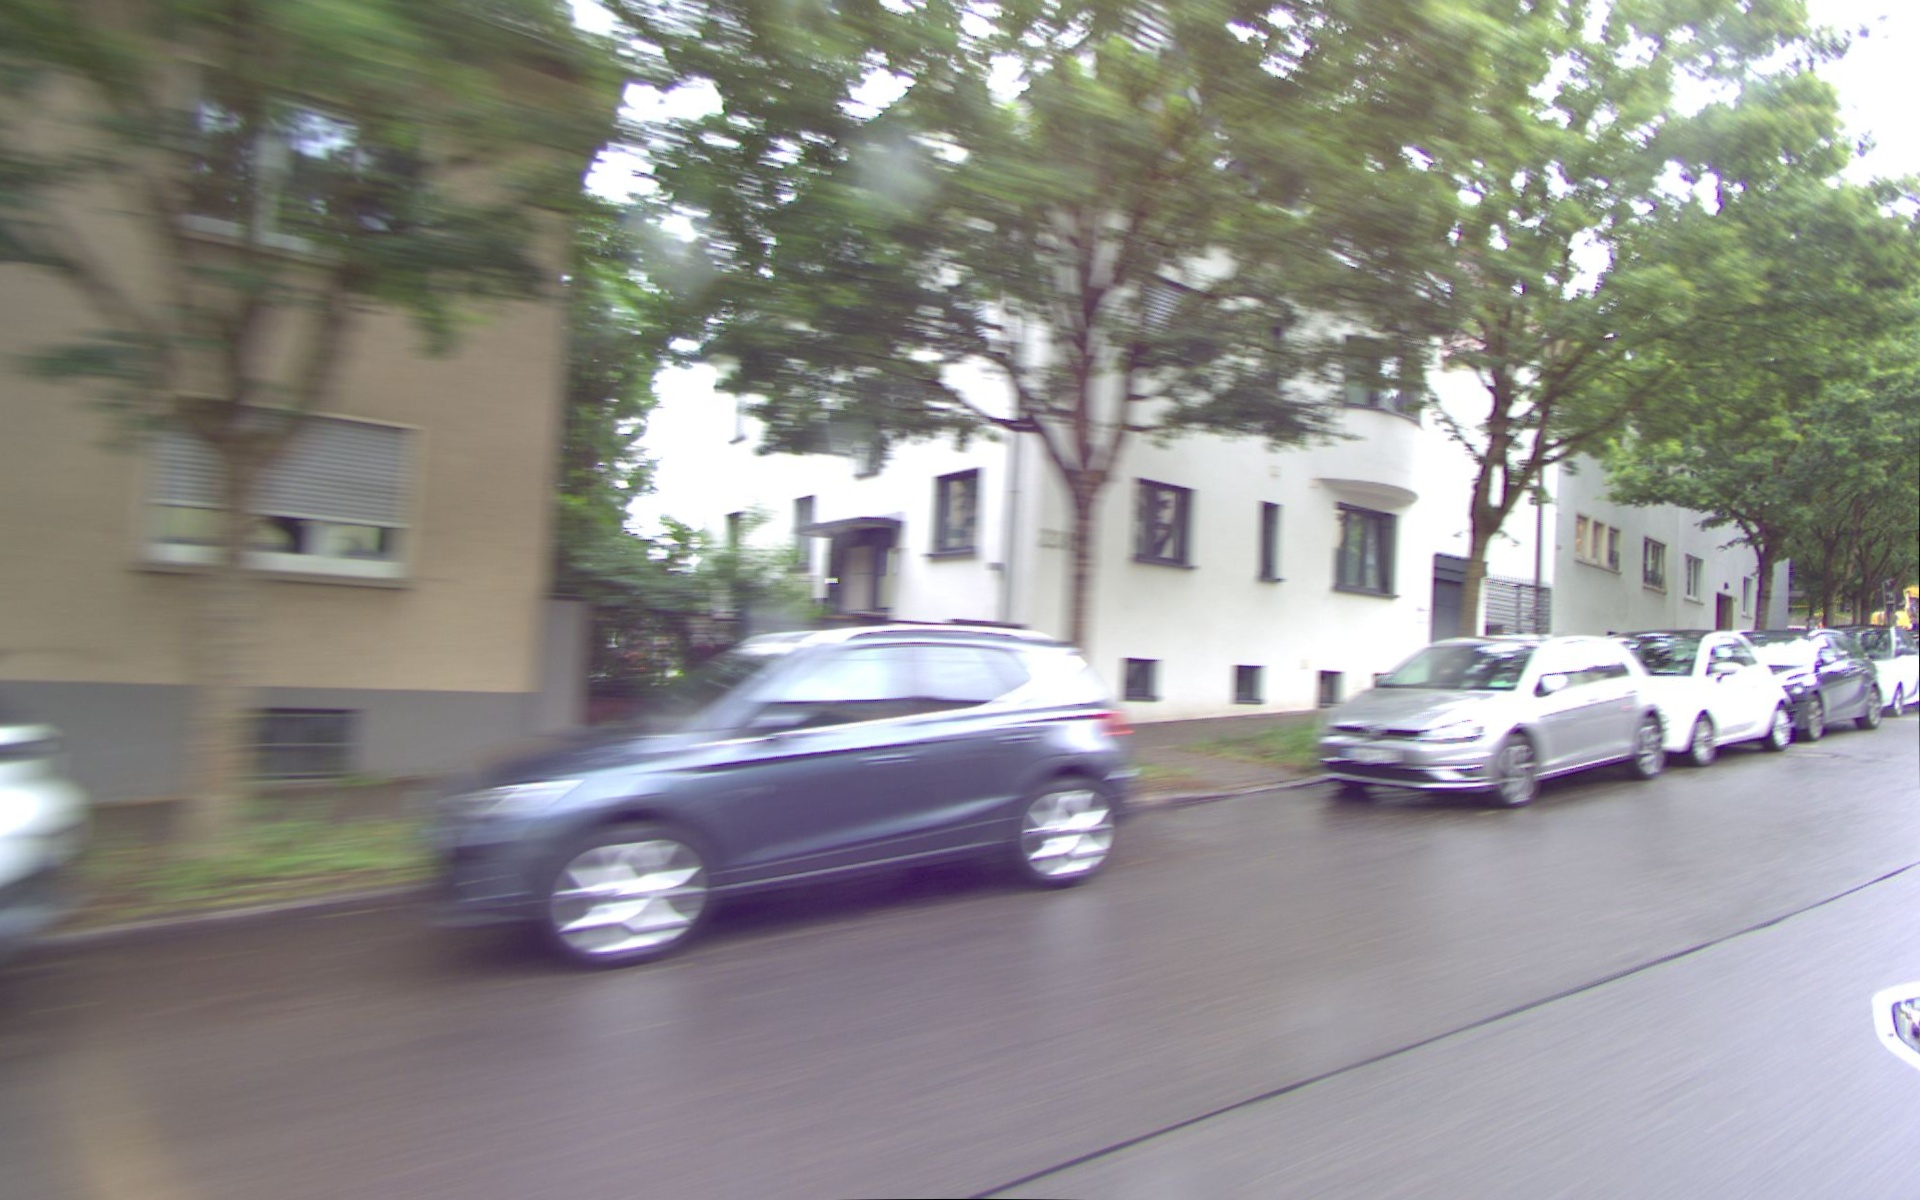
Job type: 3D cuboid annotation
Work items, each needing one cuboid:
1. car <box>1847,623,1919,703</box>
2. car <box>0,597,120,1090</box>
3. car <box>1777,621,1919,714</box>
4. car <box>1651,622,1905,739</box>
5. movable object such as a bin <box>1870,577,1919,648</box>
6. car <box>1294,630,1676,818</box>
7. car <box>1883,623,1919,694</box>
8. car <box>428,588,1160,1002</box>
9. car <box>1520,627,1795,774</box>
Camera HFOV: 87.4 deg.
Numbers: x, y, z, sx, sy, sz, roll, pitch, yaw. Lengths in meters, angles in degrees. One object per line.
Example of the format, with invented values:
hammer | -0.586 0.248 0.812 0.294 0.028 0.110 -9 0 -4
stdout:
car | 19.431 1.260 20.218 4.060 1.507 1.544 2 -5 -37
car | -5.330 0.869 3.138 3.879 1.679 1.585 1 -7 -31
car | 16.346 1.212 18.190 3.351 1.530 1.545 2 -5 -36
car | 12.166 1.158 14.859 4.429 1.507 1.654 2 -5 -34
movable object such as a bin | 55.988 0.724 57.145 2.771 4.068 7.331 0 0 10
car | 5.200 1.098 9.806 3.931 1.489 1.608 2 -5 -34
car | 22.998 1.354 23.423 3.816 1.585 1.620 2 -4 -39
car | -0.842 0.904 5.859 3.881 1.679 1.610 2 -6 -33
car | 8.482 1.138 12.157 3.434 1.507 1.565 0 -4 -35
